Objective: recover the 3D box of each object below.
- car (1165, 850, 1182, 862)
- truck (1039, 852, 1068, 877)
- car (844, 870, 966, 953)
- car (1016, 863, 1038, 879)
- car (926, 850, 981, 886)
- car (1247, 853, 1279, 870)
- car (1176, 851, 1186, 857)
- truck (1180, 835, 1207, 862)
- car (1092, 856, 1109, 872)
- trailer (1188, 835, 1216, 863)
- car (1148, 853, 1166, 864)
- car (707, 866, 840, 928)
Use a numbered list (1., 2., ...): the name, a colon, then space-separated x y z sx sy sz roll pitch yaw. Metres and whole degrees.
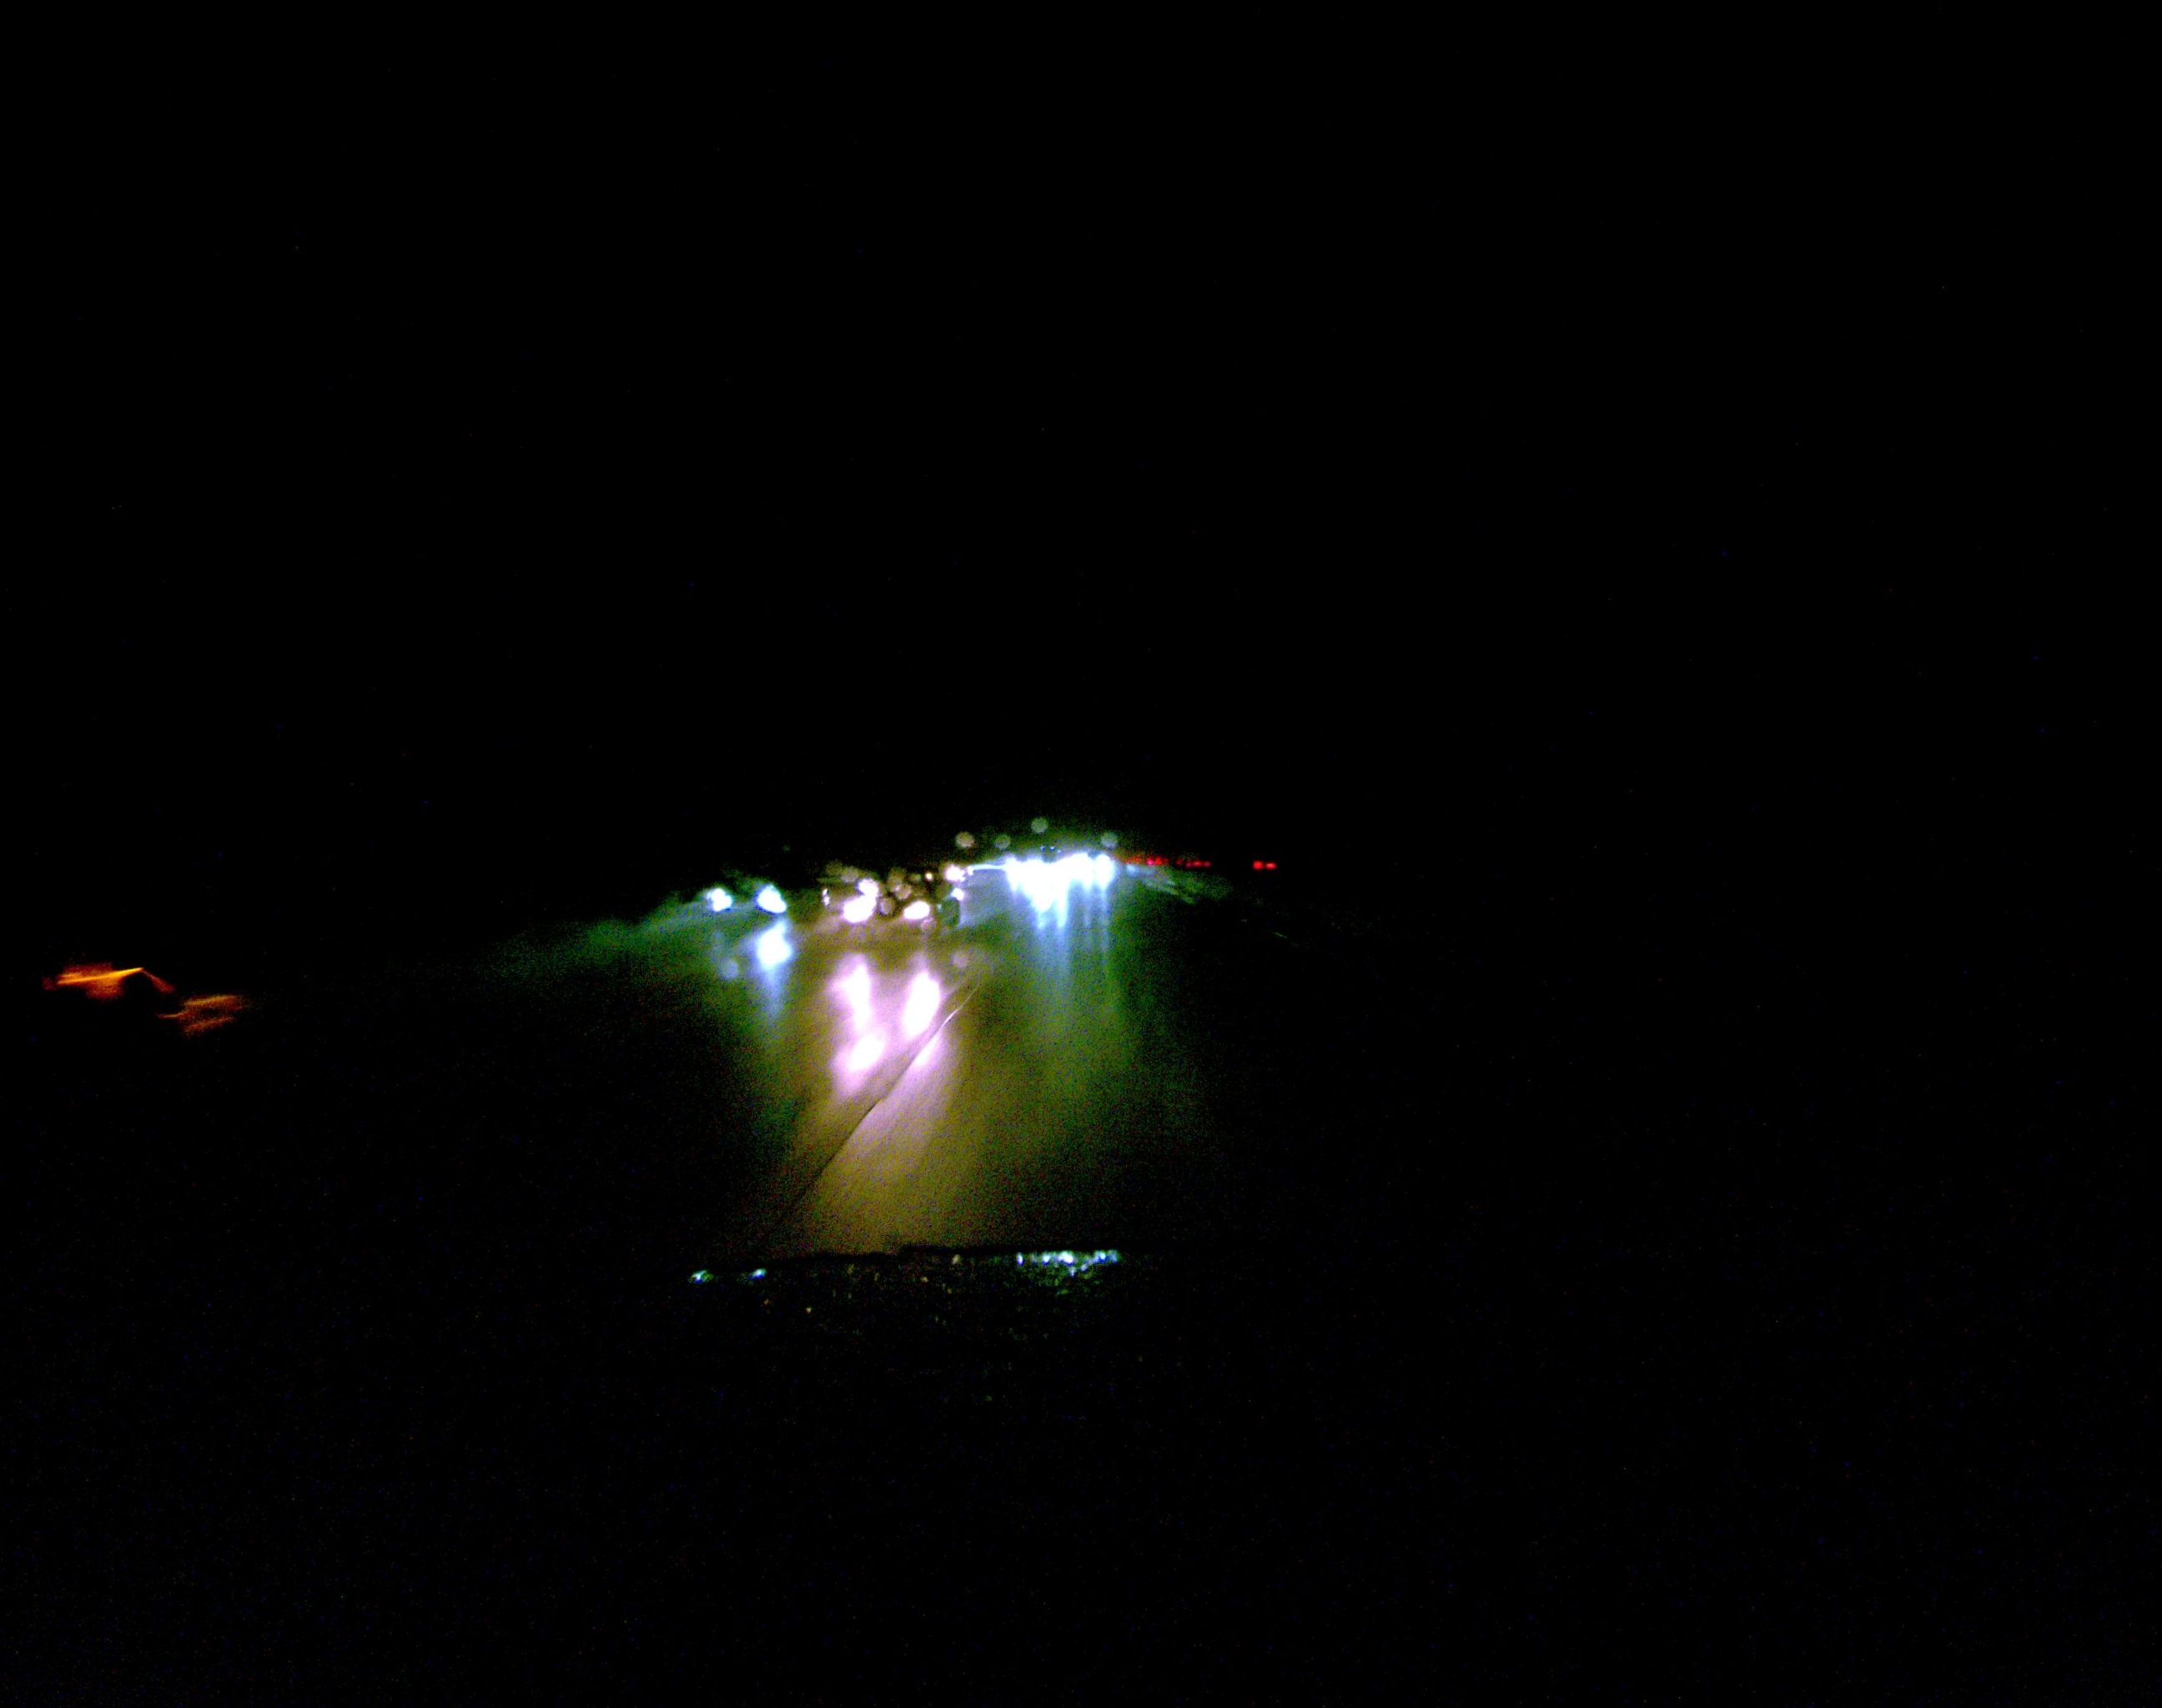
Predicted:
1. car: 14.489 0.265 118.788 2.067 1.813 4.880 -2 1 1
2. truck: -2.010 0.758 56.583 1.848 1.686 4.854 -2 1 1
3. car: -3.559 1.107 16.054 1.616 1.404 3.792 -2 0 0
4. car: -5.464 1.671 77.516 1.747 1.470 5.366 -2 0 1
5. car: -7.458 0.788 44.859 2.051 1.962 5.408 1 0 3
6. car: 18.127 0.715 75.911 1.998 1.492 4.965 -2 1 1
7. car: 26.825 0.013 203.831 1.868 1.462 4.352 -2 1 -3
8. truck: 19.144 -0.939 129.976 2.938 4.302 11.435 1 1 1
9. car: 1.919 0.933 74.491 1.619 1.452 3.767 -2 1 2
10. trailer: 19.011 -0.801 119.769 2.947 4.252 8.936 1 1 1
11. car: 10.536 0.593 105.353 1.970 1.467 4.446 -2 1 1
12. car: -8.895 1.176 22.525 1.899 1.477 4.962 -2 0 0
